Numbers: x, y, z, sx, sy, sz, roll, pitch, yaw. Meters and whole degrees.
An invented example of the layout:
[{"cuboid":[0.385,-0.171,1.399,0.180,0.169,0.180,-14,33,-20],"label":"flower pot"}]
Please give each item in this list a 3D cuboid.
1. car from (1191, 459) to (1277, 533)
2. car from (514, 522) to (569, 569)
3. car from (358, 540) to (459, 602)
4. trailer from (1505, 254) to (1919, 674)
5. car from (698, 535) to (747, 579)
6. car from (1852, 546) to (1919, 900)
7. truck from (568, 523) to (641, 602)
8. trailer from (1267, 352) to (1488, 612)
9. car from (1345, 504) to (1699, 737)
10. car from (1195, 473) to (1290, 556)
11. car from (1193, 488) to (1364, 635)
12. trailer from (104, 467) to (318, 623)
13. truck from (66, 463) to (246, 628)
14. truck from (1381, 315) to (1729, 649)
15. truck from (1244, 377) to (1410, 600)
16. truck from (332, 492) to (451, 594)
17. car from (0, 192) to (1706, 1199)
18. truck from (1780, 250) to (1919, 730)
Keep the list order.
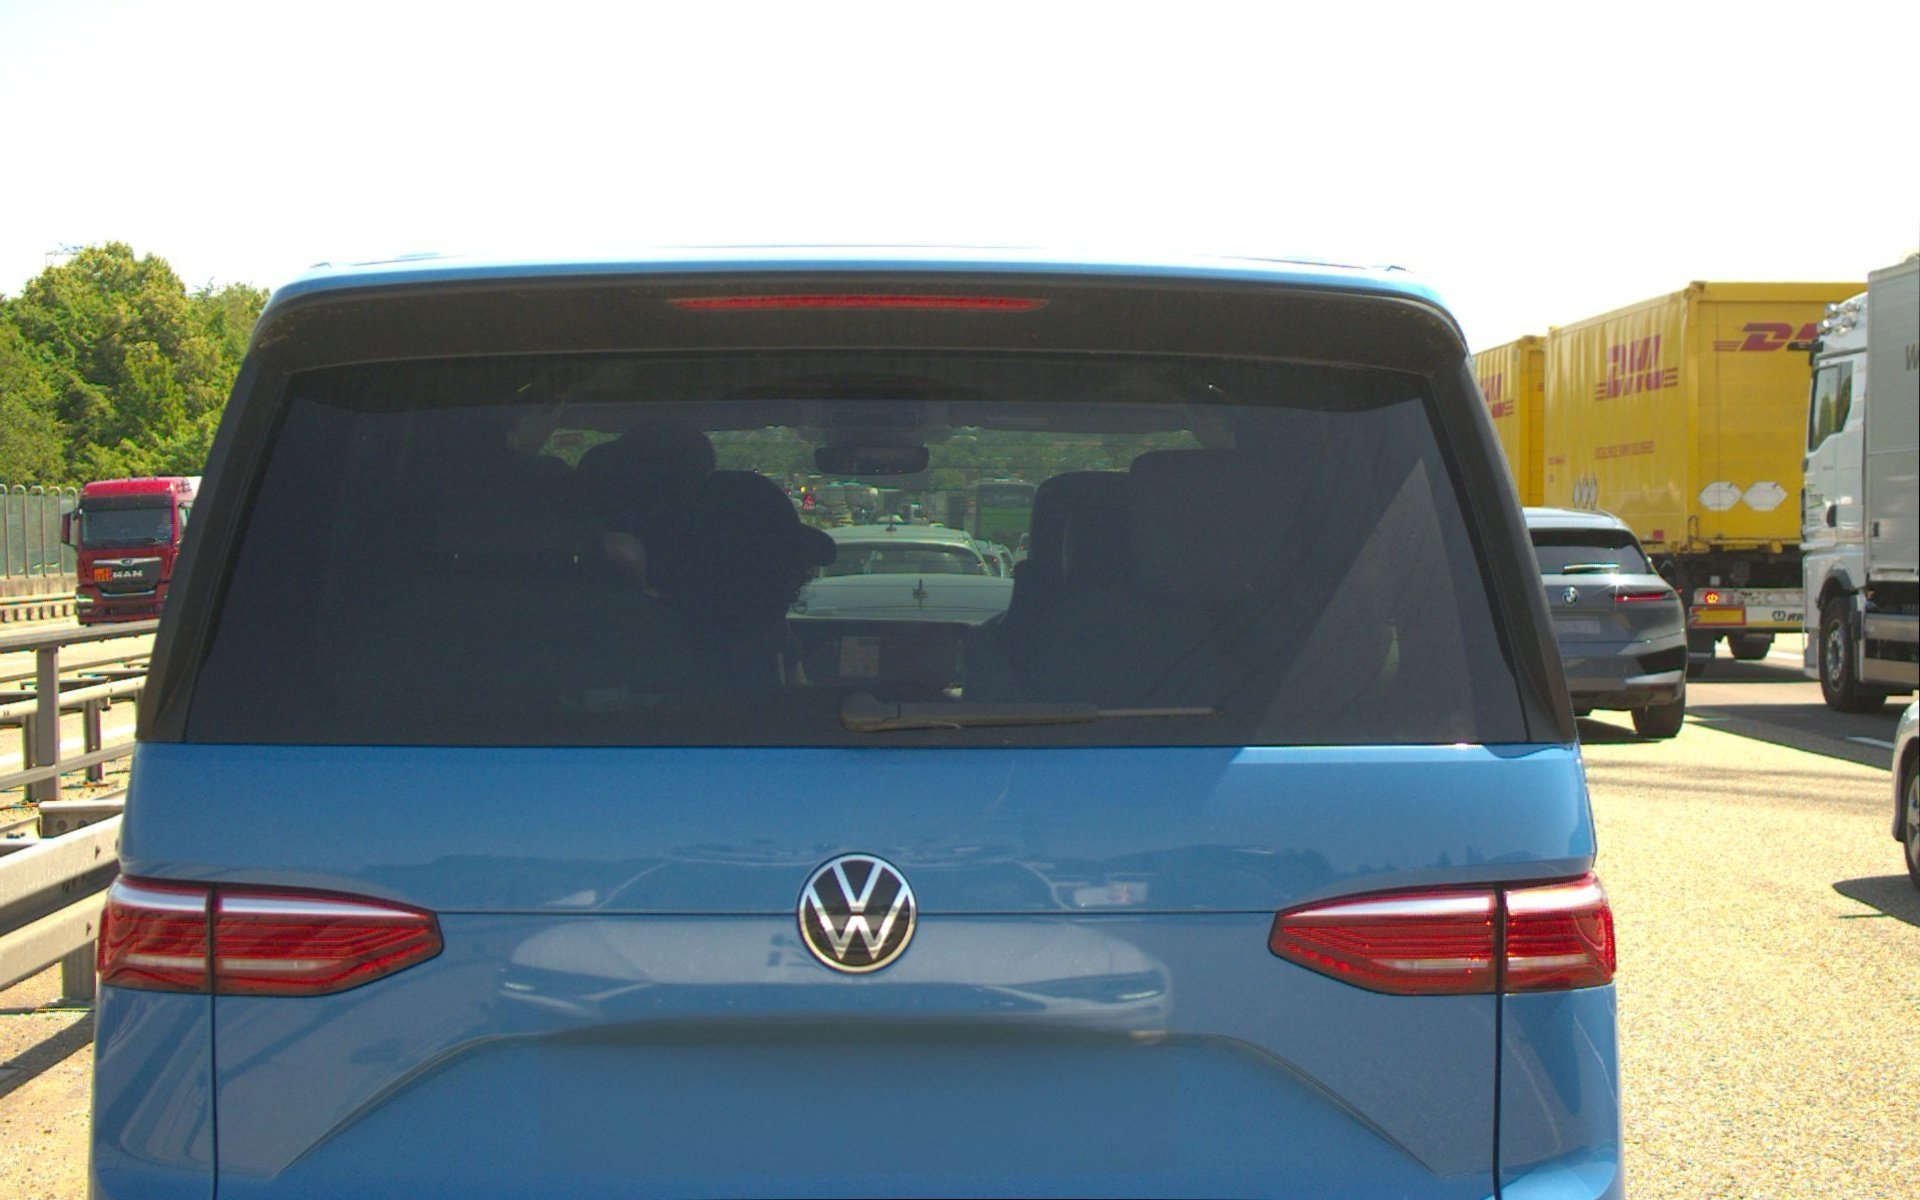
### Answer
[{"cuboid":[7.697,-2.895,96.852,1.993,2.007,4.461,-1,1,0],"label":"car"},{"cuboid":[-20.163,-2.625,165.684,2.082,2.142,4.312,-2,1,0],"label":"car"},{"cuboid":[-13.819,-0.749,86.338,1.863,1.439,4.131,-3,1,0],"label":"car"},{"cuboid":[8.461,-1.439,39.350,2.864,4.224,9.012,1,1,-1],"label":"trailer"},{"cuboid":[-11.121,-2.039,161.176,1.993,2.007,4.312,1,1,-1],"label":"car"},{"cuboid":[4.853,0.528,13.018,1.788,1.450,4.293,0,1,-1],"label":"car"},{"cuboid":[-15.812,-1.693,153.567,2.561,3.348,8.865,-2,1,-2],"label":"truck"},{"cuboid":[7.763,-2.168,65.488,2.637,4.501,11.302,1,1,-1],"label":"trailer"},{"cuboid":[4.202,0.103,26.393,1.962,1.639,4.293,0,1,-1],"label":"car"},{"cuboid":[7.070,-2.125,86.474,1.993,2.007,4.000,1,1,-1],"label":"car"},{"cuboid":[4.454,-0.568,48.660,1.962,1.986,4.293,0,1,-1],"label":"car"},{"cuboid":[-17.663,-1.326,81.976,2.481,3.332,12.074,-2,1,-1],"label":"trailer"},{"cuboid":[-17.510,-1.202,75.167,2.497,3.354,5.834,-2,1,-1],"label":"truck"},{"cuboid":[8.266,-1.595,49.356,2.836,4.228,11.011,1,1,-1],"label":"truck"},{"cuboid":[7.693,-2.291,72.873,2.667,4.469,6.850,1,1,0],"label":"truck"},{"cuboid":[-18.805,-1.897,114.268,2.518,3.100,8.724,-4,1,-1],"label":"truck"},{"cuboid":[-0.159,0.477,5.643,1.820,1.851,4.075,1,1,-1],"label":"car"},{"cuboid":[8.623,-0.810,24.671,2.656,3.635,11.012,0,1,-1],"label":"truck"}]
